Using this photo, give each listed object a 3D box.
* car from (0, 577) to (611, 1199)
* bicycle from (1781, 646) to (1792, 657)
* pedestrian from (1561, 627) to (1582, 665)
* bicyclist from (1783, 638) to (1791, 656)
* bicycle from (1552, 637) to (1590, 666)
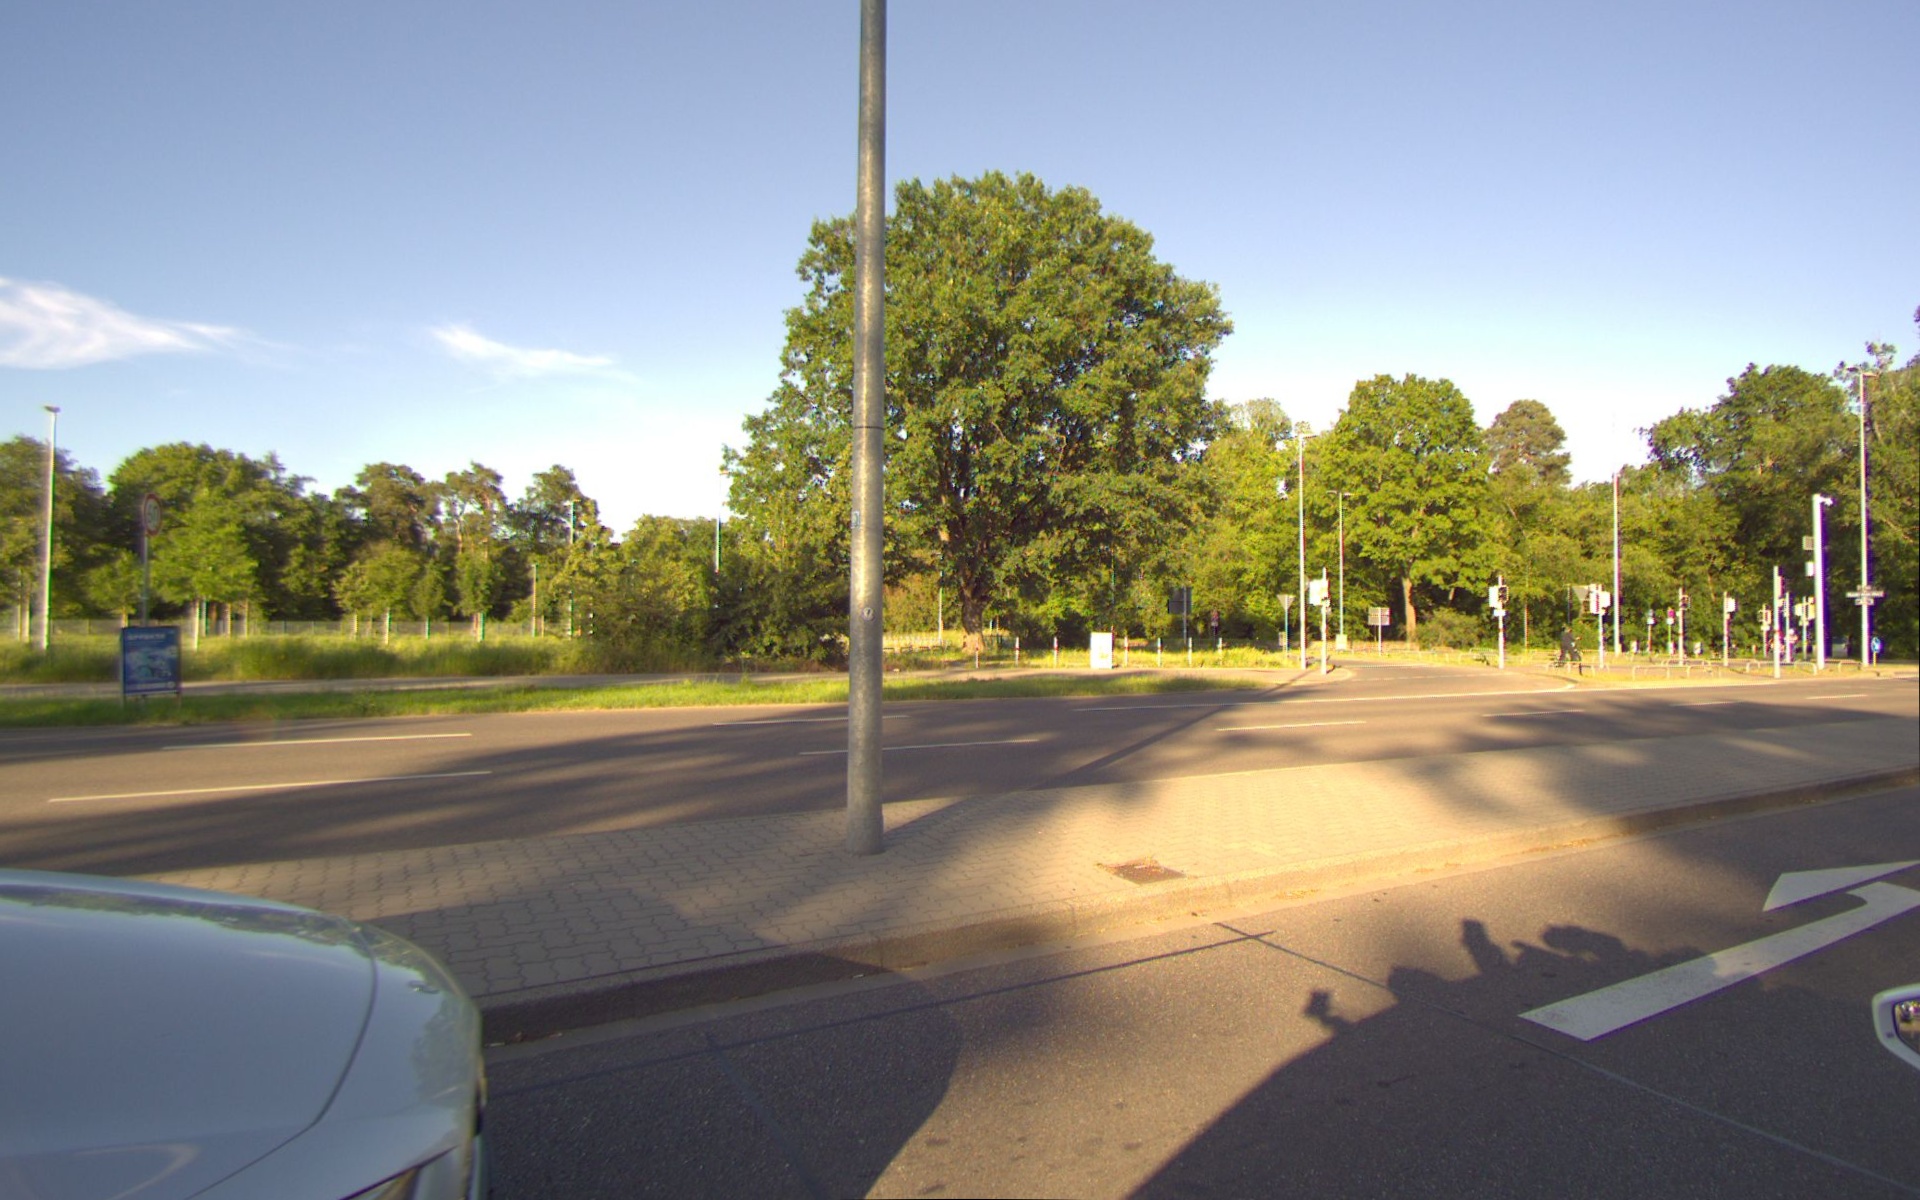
[{"bbox_3d":[-2.680,0.685,0.875,4.229,1.463,1.776,1,0,-32],"label":"car"},{"bbox_3d":[44.334,2.763,53.870,0.831,0.589,0.264,2,0,-36],"label":"bicycle"},{"bbox_3d":[26.011,1.942,42.704,0.641,1.583,0.479,2,0,-30],"label":"pedestrian"},{"bbox_3d":[44.341,2.519,53.869,0.238,0.975,0.271,2,0,-34],"label":"bicyclist"},{"bbox_3d":[25.967,2.193,42.693,1.980,1.193,0.466,2,0,-31],"label":"bicycle"}]
